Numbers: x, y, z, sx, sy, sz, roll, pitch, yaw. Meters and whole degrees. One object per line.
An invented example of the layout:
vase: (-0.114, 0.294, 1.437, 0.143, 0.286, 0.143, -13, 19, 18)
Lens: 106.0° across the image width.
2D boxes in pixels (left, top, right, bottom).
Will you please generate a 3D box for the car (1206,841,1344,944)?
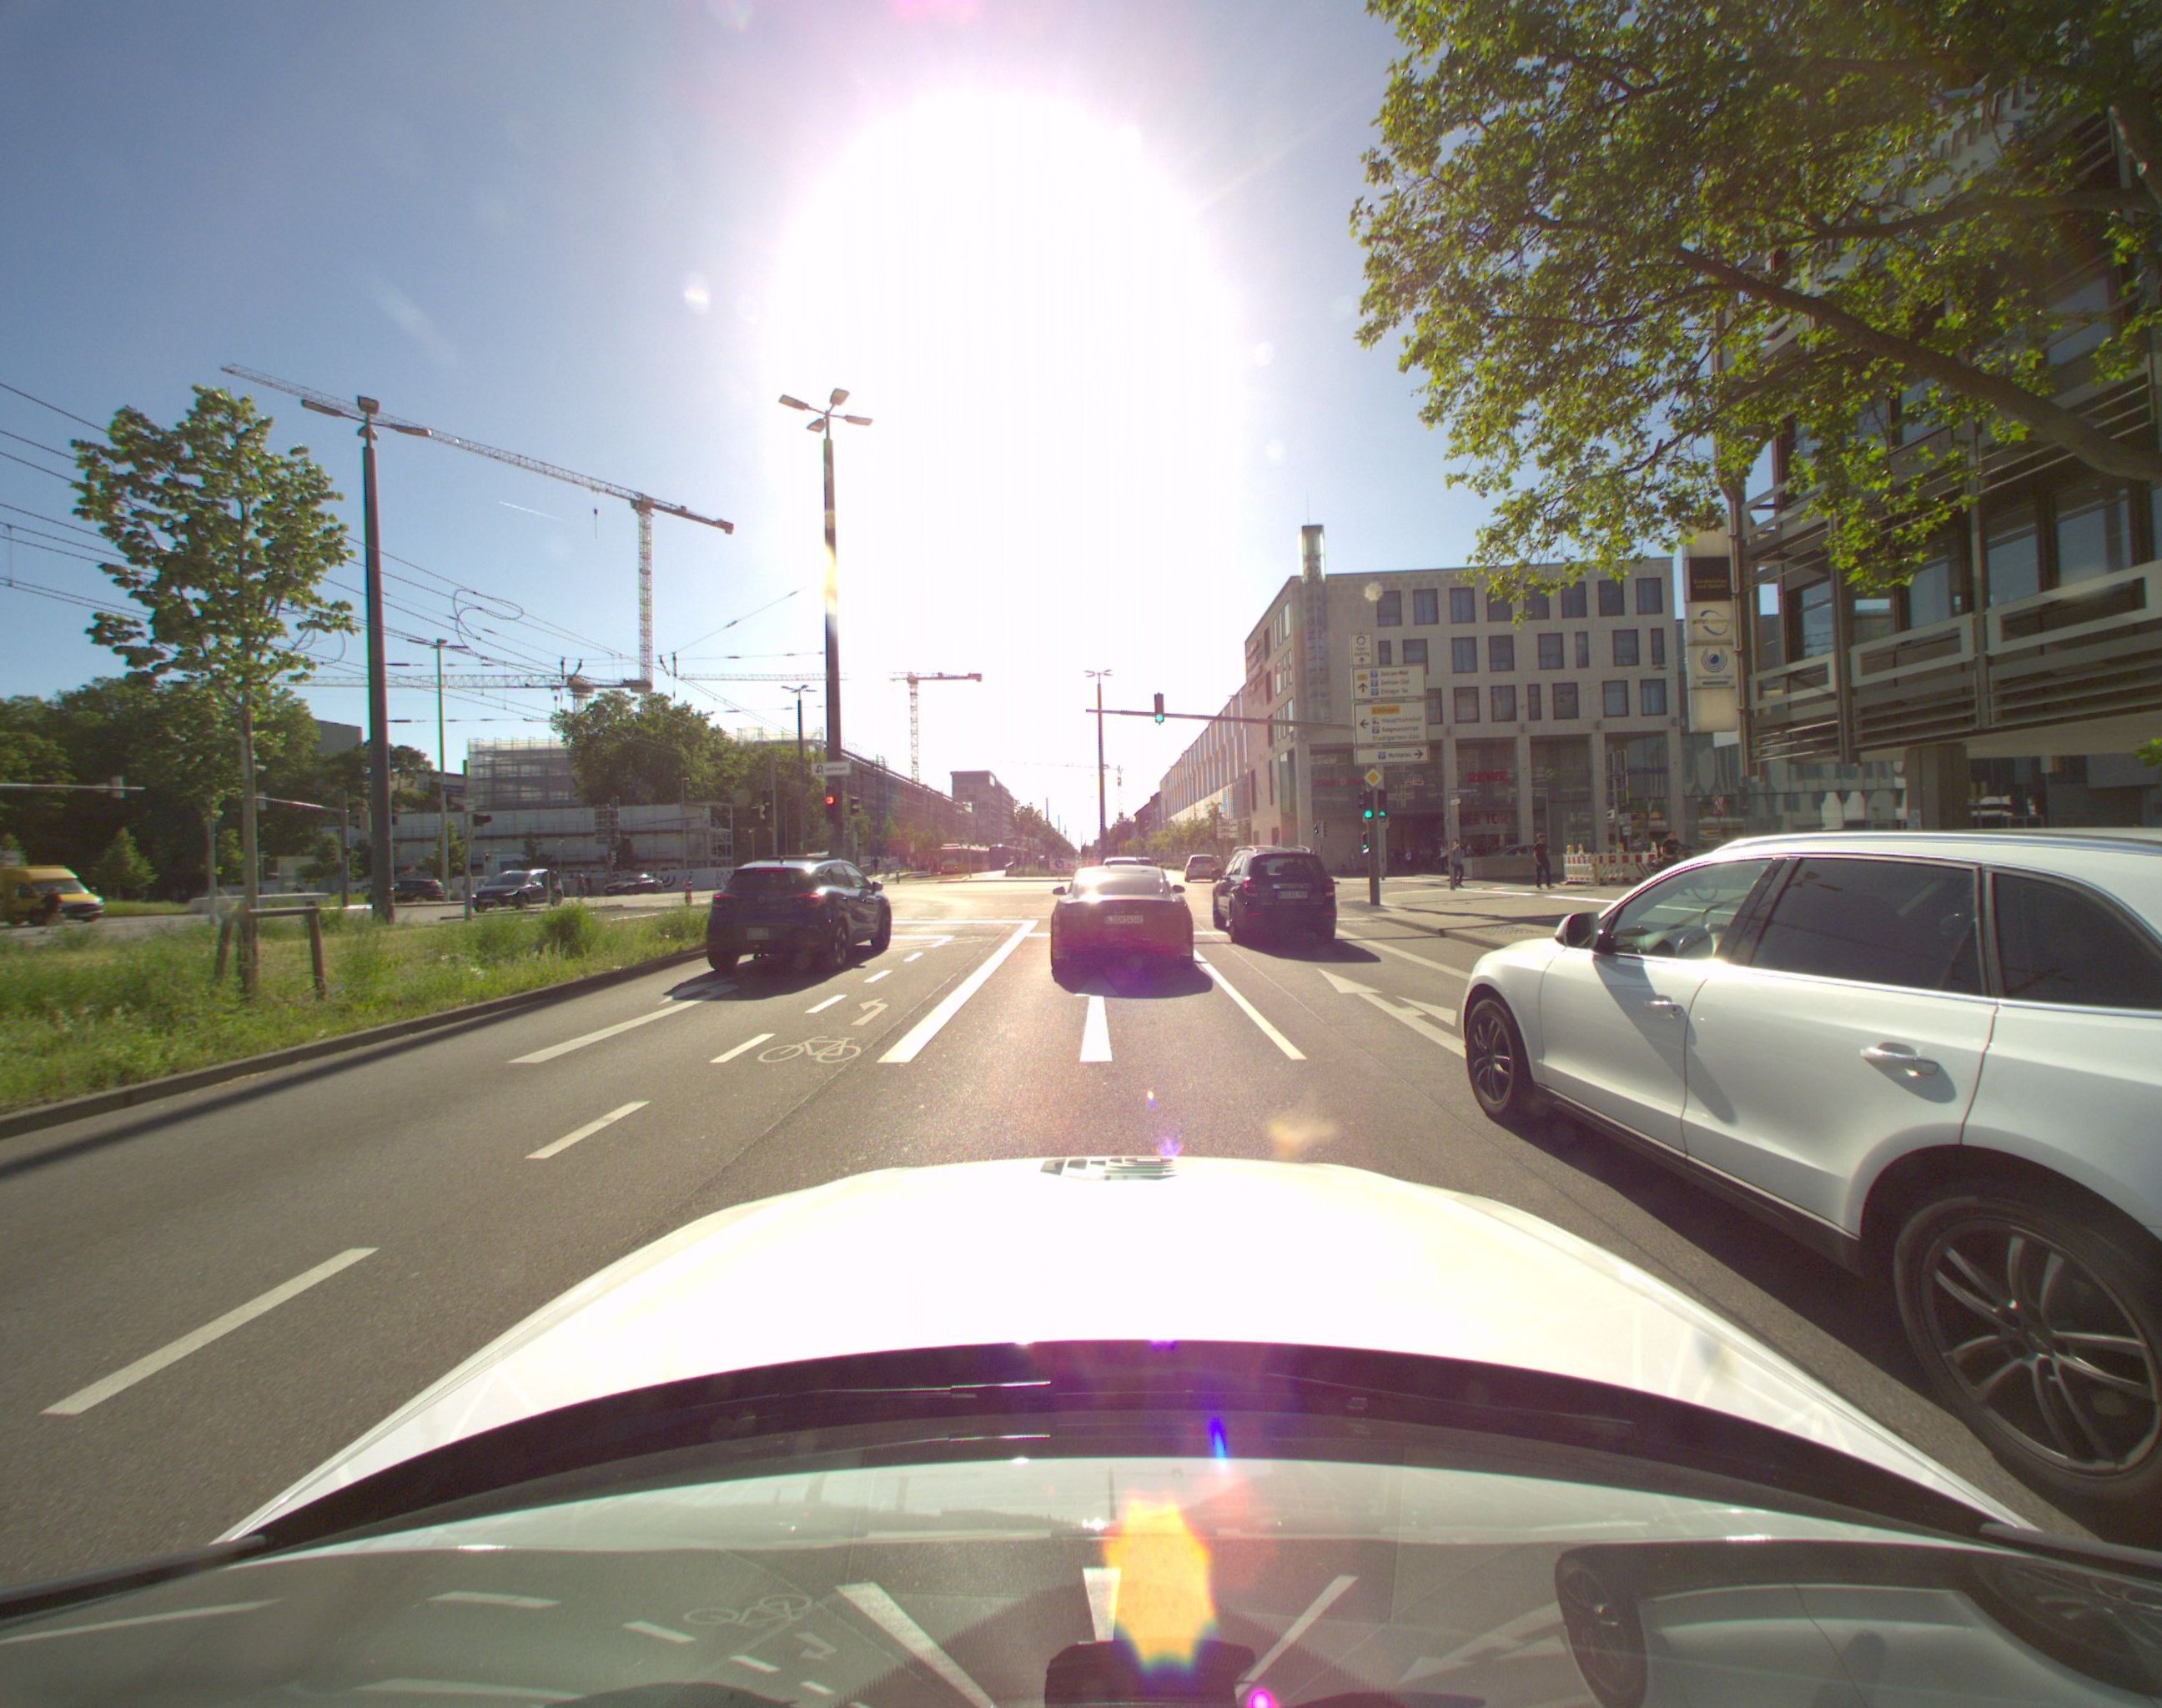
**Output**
car: (3.614, 0.653, 15.969, 1.778, 1.699, 4.415, -1, 0, 2)

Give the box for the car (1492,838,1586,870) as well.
car: (25.624, 0.037, 45.683, 4.168, 1.613, 1.862, -2, -2, 3)

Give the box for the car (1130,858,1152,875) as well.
car: (5.266, 1.072, 72.034, 1.710, 1.432, 4.001, -1, 0, 2)

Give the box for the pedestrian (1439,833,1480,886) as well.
pedestrian: (14.741, 0.204, 31.764, 0.947, 2.013, 1.076, -2, 0, -10)

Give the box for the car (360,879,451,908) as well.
car: (-43.076, 2.488, 52.012, 3.978, 1.601, 1.998, -2, 0, -3)

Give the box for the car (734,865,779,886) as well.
car: (-28.581, 1.884, 71.970, 1.986, 1.707, 4.562, -2, 0, 2)

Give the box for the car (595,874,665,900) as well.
car: (-32.129, 2.317, 58.074, 4.023, 1.601, 1.975, -2, -1, -44)

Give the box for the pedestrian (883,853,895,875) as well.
pedestrian: (-16.267, 0.828, 69.074, 0.797, 1.823, 0.976, -2, 0, -2)

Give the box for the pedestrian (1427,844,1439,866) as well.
pedestrian: (28.258, 0.078, 65.351, 0.559, 1.762, 0.643, -2, 0, -35)

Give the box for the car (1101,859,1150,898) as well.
car: (1.646, 0.874, 30.955, 1.710, 1.320, 4.001, -1, 0, 2)

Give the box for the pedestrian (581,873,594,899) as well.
pedestrian: (-35.582, 2.285, 58.715, 0.704, 1.823, 0.589, -1, 0, -37)

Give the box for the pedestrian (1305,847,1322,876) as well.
pedestrian: (15.146, 0.476, 53.119, 0.725, 1.801, 1.066, -4, -1, 1)

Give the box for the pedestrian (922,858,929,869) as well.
pedestrian: (-17.213, 1.061, 90.294, 0.669, 1.226, 0.506, 0, -1, -2)

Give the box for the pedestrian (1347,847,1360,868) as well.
pedestrian: (20.995, 0.255, 62.787, 0.745, 1.608, 0.556, -2, 0, -1)

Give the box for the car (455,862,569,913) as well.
car: (-23.937, 1.357, 34.459, 1.864, 1.955, 4.001, -2, 0, 1)

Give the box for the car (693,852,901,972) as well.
car: (-4.202, 0.781, 12.814, 1.764, 1.588, 4.089, 0, 0, 1)

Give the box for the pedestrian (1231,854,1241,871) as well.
pedestrian: (15.158, 0.811, 79.630, 0.705, 1.658, 0.899, -4, -1, -4)

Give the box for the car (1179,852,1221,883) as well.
car: (6.426, 0.693, 44.380, 1.778, 1.546, 4.041, -1, 0, 2)

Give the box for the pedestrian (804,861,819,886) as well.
pedestrian: (-20.071, 1.445, 60.651, 0.797, 1.823, 0.976, -2, 0, -2)

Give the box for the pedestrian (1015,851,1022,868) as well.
pedestrian: (-6.607, 0.602, 86.383, 0.701, 1.775, 0.958, 0, 0, -2)

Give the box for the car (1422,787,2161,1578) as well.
car: (3.158, 0.652, 3.312, 1.812, 1.613, 4.415, -1, 0, 2)

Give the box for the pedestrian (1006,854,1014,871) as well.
pedestrian: (-7.786, 0.943, 89.421, 0.872, 1.775, 1.188, 0, 0, -2)

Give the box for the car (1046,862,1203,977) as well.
car: (0.636, 0.858, 12.659, 1.991, 1.434, 4.414, -1, 0, 2)

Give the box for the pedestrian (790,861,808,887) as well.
pedestrian: (-20.400, 1.422, 58.864, 0.792, 1.823, 0.887, -2, 0, 33)

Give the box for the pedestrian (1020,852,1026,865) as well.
pedestrian: (-7.713, 0.595, 108.593, 0.669, 1.811, 1.074, -2, -1, 0)

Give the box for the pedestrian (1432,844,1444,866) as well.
pedestrian: (28.896, 0.099, 65.844, 0.559, 1.762, 0.643, -2, 0, -35)

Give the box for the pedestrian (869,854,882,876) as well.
pedestrian: (-17.850, 0.945, 70.777, 0.797, 1.823, 0.976, -2, 0, -2)

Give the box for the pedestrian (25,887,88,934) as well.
pedestrian: (-39.511, 2.167, 31.414, 1.187, 1.685, 0.948, -1, 1, 1)

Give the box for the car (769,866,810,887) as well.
car: (-25.103, 1.934, 70.346, 1.939, 1.707, 4.366, -2, 0, 0)

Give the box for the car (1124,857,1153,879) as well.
car: (3.757, 0.907, 53.478, 1.710, 1.320, 4.001, -1, 0, 2)

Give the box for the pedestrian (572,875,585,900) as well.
pedestrian: (-37.200, 2.473, 60.259, 0.704, 1.823, 0.589, -1, 0, -37)

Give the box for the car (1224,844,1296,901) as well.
car: (6.106, 0.571, 27.423, 1.769, 1.733, 4.184, -1, 0, 20)

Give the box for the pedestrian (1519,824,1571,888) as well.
pedestrian: (14.880, 0.060, 26.140, 0.945, 2.013, 1.077, -1, 0, -7)

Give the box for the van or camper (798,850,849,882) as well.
van or camper: (-24.940, 1.150, 79.148, 2.597, 2.937, 7.340, -2, 0, 0)
